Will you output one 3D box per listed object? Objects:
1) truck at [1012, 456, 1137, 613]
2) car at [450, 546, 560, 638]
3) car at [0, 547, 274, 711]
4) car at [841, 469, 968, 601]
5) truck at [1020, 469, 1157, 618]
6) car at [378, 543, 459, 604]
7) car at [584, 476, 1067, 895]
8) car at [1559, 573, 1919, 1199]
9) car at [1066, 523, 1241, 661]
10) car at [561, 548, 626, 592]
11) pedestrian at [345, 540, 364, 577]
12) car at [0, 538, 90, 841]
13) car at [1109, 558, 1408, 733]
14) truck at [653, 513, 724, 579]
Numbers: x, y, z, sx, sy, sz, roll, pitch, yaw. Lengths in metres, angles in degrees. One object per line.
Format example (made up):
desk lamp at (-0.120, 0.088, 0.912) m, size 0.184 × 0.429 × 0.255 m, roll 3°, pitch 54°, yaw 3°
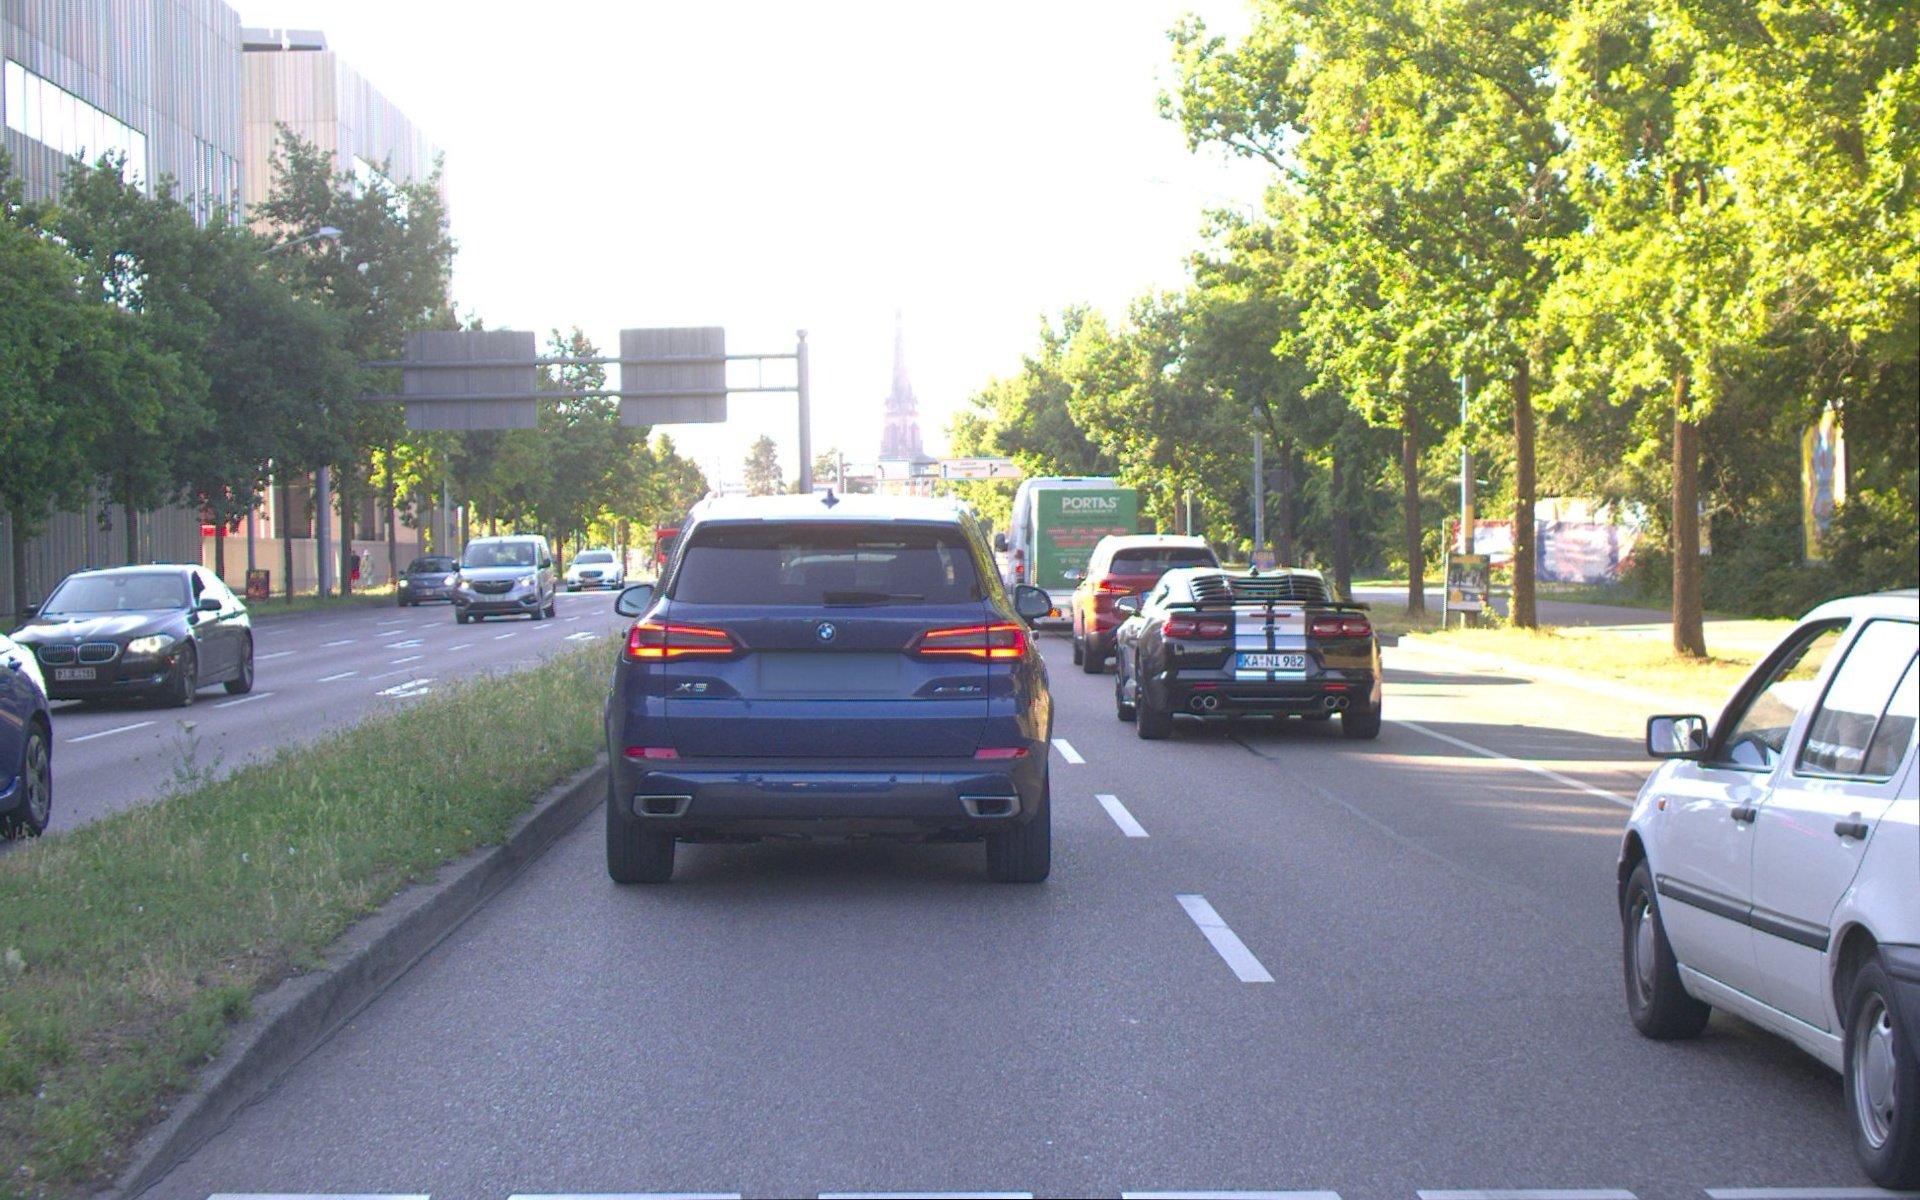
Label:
truck at (1.984, -1.123, 60.613) m, size 1.996 × 2.659 × 4.000 m, roll 0°, pitch 0°, yaw -1°
car at (-9.686, -0.172, 73.449) m, size 1.756 × 1.771 × 4.494 m, roll -5°, pitch 0°, yaw -2°
car at (-8.642, 0.285, 36.064) m, size 1.993 × 1.447 × 4.799 m, roll -5°, pitch 0°, yaw -2°
car at (-1.180, -1.265, 69.773) m, size 2.136 × 2.567 × 5.088 m, roll 0°, pitch 0°, yaw -6°
truck at (2.043, -0.879, 55.720) m, size 1.996 × 2.307 × 4.000 m, roll 0°, pitch 0°, yaw -1°
car at (-16.514, -0.799, 105.011) m, size 1.756 × 1.699 × 4.494 m, roll -5°, pitch 0°, yaw -2°
car at (-0.591, 0.355, 16.525) m, size 1.993 × 1.728 × 4.533 m, roll 0°, pitch 0°, yaw -1°
car at (2.829, 0.652, 9.323) m, size 1.578 × 1.408 × 4.062 m, roll 0°, pitch 0°, yaw -2°
car at (2.263, -0.092, 41.108) m, size 1.796 × 1.553 × 4.000 m, roll 0°, pitch 0°, yaw -1°
car at (-13.620, -1.088, 128.030) m, size 1.993 × 1.447 × 4.715 m, roll -5°, pitch 0°, yaw -2°
pedestrian at (-25.075, -1.715, 142.331) m, size 0.627 × 1.516 × 0.718 m, roll 0°, pitch 0°, yaw 2°
car at (-5.460, 0.494, 16.034) m, size 1.702 × 1.447 × 3.858 m, roll -5°, pitch 0°, yaw 0°
car at (2.315, 0.338, 27.671) m, size 1.993 × 1.290 × 4.000 m, roll 0°, pitch 0°, yaw -1°
truck at (-17.454, -3.417, 221.675) m, size 3.988 × 4.074 × 11.449 m, roll 0°, pitch 0°, yaw -2°
